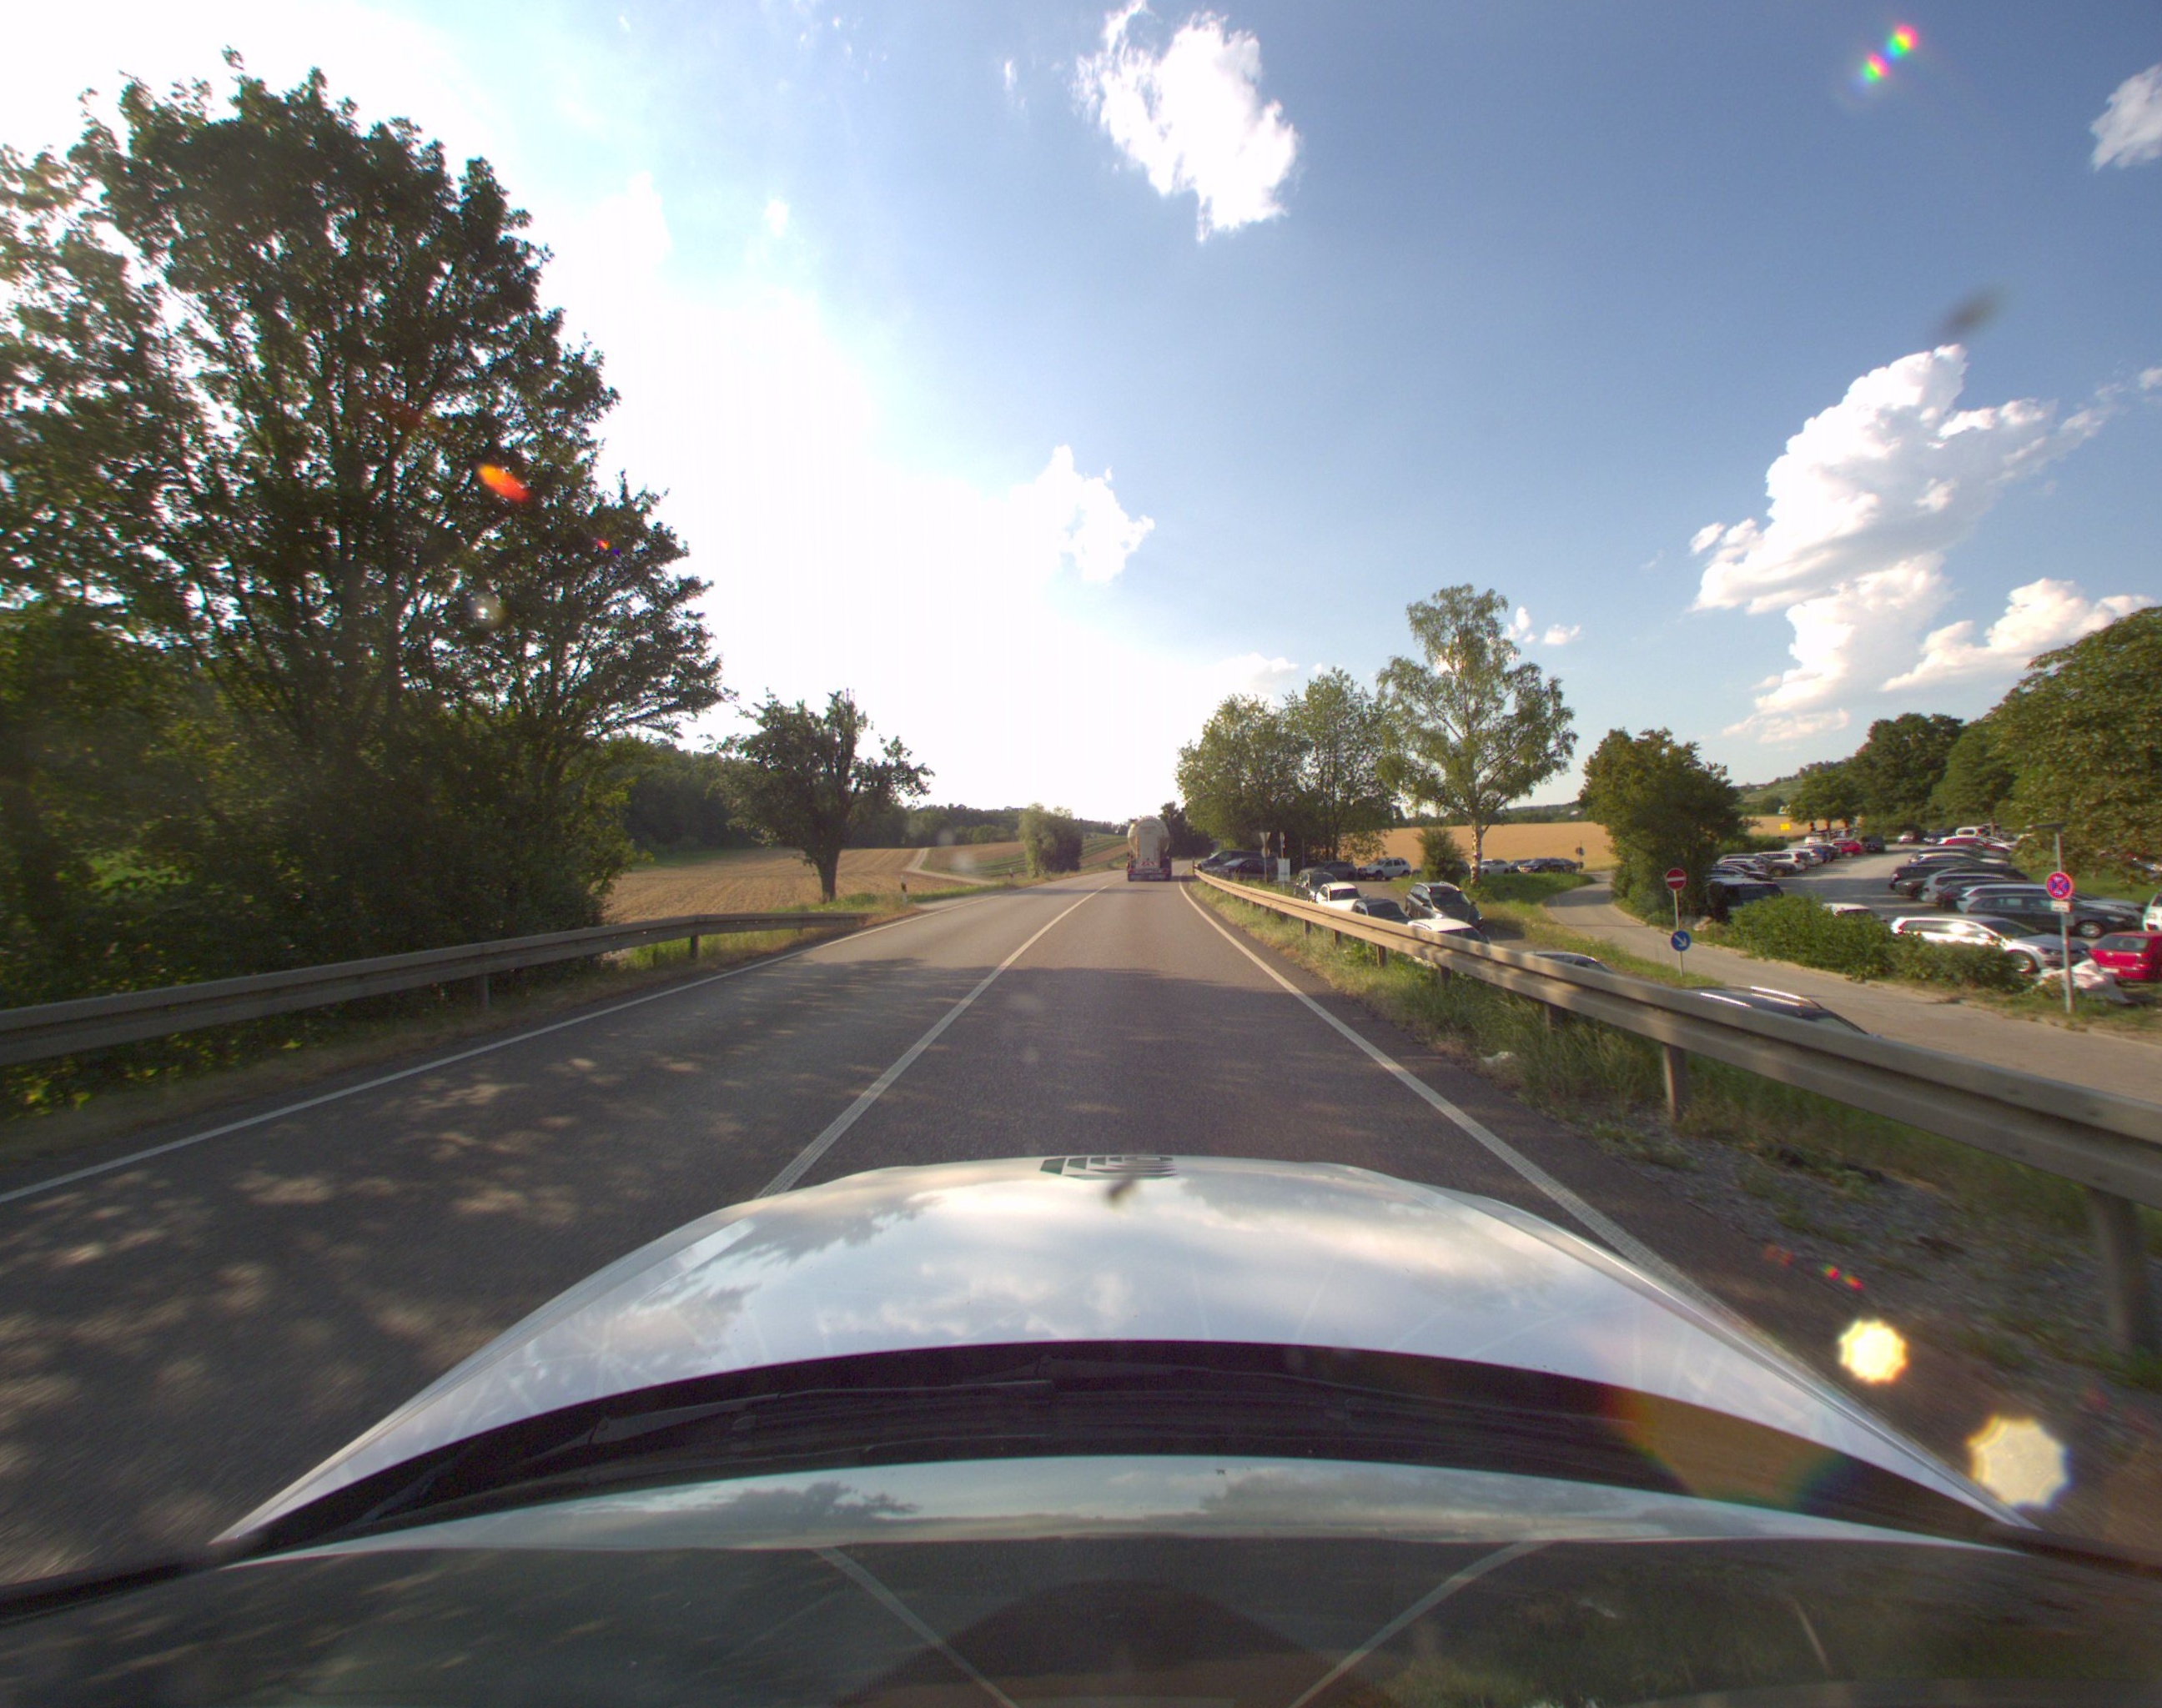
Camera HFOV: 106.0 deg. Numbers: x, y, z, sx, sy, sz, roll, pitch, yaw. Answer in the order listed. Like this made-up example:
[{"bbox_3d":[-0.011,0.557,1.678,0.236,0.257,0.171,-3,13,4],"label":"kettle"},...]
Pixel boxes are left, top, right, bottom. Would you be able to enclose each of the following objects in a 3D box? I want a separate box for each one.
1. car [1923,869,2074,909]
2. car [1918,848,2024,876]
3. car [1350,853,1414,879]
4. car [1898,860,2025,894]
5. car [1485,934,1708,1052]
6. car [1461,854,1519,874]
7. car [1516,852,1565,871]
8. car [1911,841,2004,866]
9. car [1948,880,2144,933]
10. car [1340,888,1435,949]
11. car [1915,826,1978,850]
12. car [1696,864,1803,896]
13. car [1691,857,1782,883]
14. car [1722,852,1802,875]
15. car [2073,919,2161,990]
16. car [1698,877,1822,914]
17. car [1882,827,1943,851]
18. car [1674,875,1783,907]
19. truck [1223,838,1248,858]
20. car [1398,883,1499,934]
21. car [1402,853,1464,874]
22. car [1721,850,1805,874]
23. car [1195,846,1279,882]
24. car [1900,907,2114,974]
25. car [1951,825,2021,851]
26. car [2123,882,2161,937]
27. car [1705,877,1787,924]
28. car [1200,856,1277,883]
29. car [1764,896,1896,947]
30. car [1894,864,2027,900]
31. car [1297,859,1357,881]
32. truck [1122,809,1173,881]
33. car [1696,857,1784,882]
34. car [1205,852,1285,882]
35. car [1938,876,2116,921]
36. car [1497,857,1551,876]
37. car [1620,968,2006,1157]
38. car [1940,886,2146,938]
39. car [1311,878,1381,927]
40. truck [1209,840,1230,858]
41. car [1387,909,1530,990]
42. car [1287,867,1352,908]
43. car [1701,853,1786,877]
[{"bbox_3d":[42.381,1.586,37.767,1.813,1.691,4.541,-1,0,-42],"label":"car"},{"bbox_3d":[57.248,0.532,52.465,1.813,1.691,4.541,-1,0,-42],"label":"car"},{"bbox_3d":[21.961,0.856,59.431,4.221,1.747,1.798,-2,1,-22],"label":"car"},{"bbox_3d":[47.165,1.218,43.747,1.813,1.691,4.541,-1,0,-42],"label":"car"},{"bbox_3d":[11.268,2.959,18.304,1.886,1.559,4.781,-5,2,-1],"label":"car"},{"bbox_3d":[33.028,0.805,65.774,4.658,1.507,1.980,0,0,-31],"label":"car"},{"bbox_3d":[36.923,0.596,65.433,3.946,1.441,1.793,0,0,-31],"label":"car"},{"bbox_3d":[64.073,-0.027,59.609,1.813,1.691,4.541,-1,0,-42],"label":"car"},{"bbox_3d":[36.712,1.928,31.145,1.807,1.691,4.556,-1,0,-27],"label":"car"},{"bbox_3d":[11.224,2.305,30.165,1.884,1.559,4.788,-4,2,4],"label":"car"},{"bbox_3d":[89.177,-1.655,83.944,5.671,2.243,2.344,-2,-1,-20],"label":"car"},{"bbox_3d":[38.732,1.488,47.261,1.813,1.691,4.541,-1,0,-42],"label":"car"},{"bbox_3d":[44.091,1.075,54.856,1.813,1.691,4.541,-1,0,-42],"label":"car"},{"bbox_3d":[52.848,0.762,63.265,1.813,1.691,4.541,-1,0,-42],"label":"car"},{"bbox_3d":[27.371,2.427,19.929,3.740,1.543,1.659,-1,0,10],"label":"car"},{"bbox_3d":[34.309,2.089,41.313,4.538,1.691,1.814,-1,0,28],"label":"car"},{"bbox_3d":[88.342,-1.555,86.531,5.671,2.243,2.344,-2,-1,-20],"label":"car"},{"bbox_3d":[36.426,2.063,45.950,4.538,1.691,1.814,-1,0,28],"label":"car"},{"bbox_3d":[33.307,-1.381,175.347,3.157,4.227,13.237,-2,0,19],"label":"truck"},{"bbox_3d":[14.040,2.035,31.447,1.884,1.675,4.785,-1,-1,2],"label":"car"},{"bbox_3d":[25.347,0.652,58.615,4.606,1.441,1.793,0,0,-32],"label":"car"},{"bbox_3d":[50.883,0.615,60.809,1.813,1.691,4.541,-1,0,-42],"label":"car"},{"bbox_3d":[10.166,0.651,53.375,5.118,1.943,1.977,4,1,3],"label":"car"},{"bbox_3d":[27.523,2.506,24.419,1.793,1.543,3.996,-1,0,-3],"label":"car"},{"bbox_3d":[90.352,-1.621,81.308,6.079,2.308,2.485,-2,-1,-20],"label":"car"},{"bbox_3d":[36.843,1.809,27.030,4.152,1.671,1.643,-1,0,-21],"label":"car"},{"bbox_3d":[30.438,2.077,37.407,1.781,1.842,4.623,-2,0,25],"label":"car"},{"bbox_3d":[9.606,0.950,49.593,4.329,1.399,1.708,3,1,-23],"label":"car"},{"bbox_3d":[28.080,2.481,30.721,1.677,1.486,4.306,-2,0,12],"label":"car"},{"bbox_3d":[45.172,1.421,41.933,1.813,1.691,4.541,-1,0,-42],"label":"car"},{"bbox_3d":[17.326,1.111,57.404,3.732,1.441,1.799,0,0,-21],"label":"car"},{"bbox_3d":[4.539,-0.517,53.719,2.878,4.142,13.193,-1,0,6],"label":"truck"},{"bbox_3d":[46.228,1.082,57.176,1.813,1.691,4.541,-1,0,-42],"label":"car"},{"bbox_3d":[9.430,0.746,46.769,4.333,1.509,1.706,3,0,-26],"label":"car"},{"bbox_3d":[38.850,1.791,33.642,4.537,1.691,1.815,-1,0,41],"label":"car"},{"bbox_3d":[37.460,1.048,68.855,4.658,1.507,1.980,0,0,-31],"label":"car"},{"bbox_3d":[11.331,3.107,13.226,1.886,1.559,4.781,-5,2,-1],"label":"car"},{"bbox_3d":[34.945,2.040,29.763,1.807,1.543,4.556,-1,0,-27],"label":"car"},{"bbox_3d":[11.391,2.041,35.378,1.882,1.559,4.792,-4,2,7],"label":"car"},{"bbox_3d":[31.171,-1.112,182.951,2.368,3.920,10.213,-2,0,21],"label":"truck"},{"bbox_3d":[10.996,2.712,24.169,1.886,1.559,4.781,-5,2,-1],"label":"car"},{"bbox_3d":[11.827,1.614,40.708,1.885,1.559,4.785,-5,2,2],"label":"car"},{"bbox_3d":[47.979,0.798,59.060,1.813,1.691,4.541,-1,0,-42],"label":"car"}]
